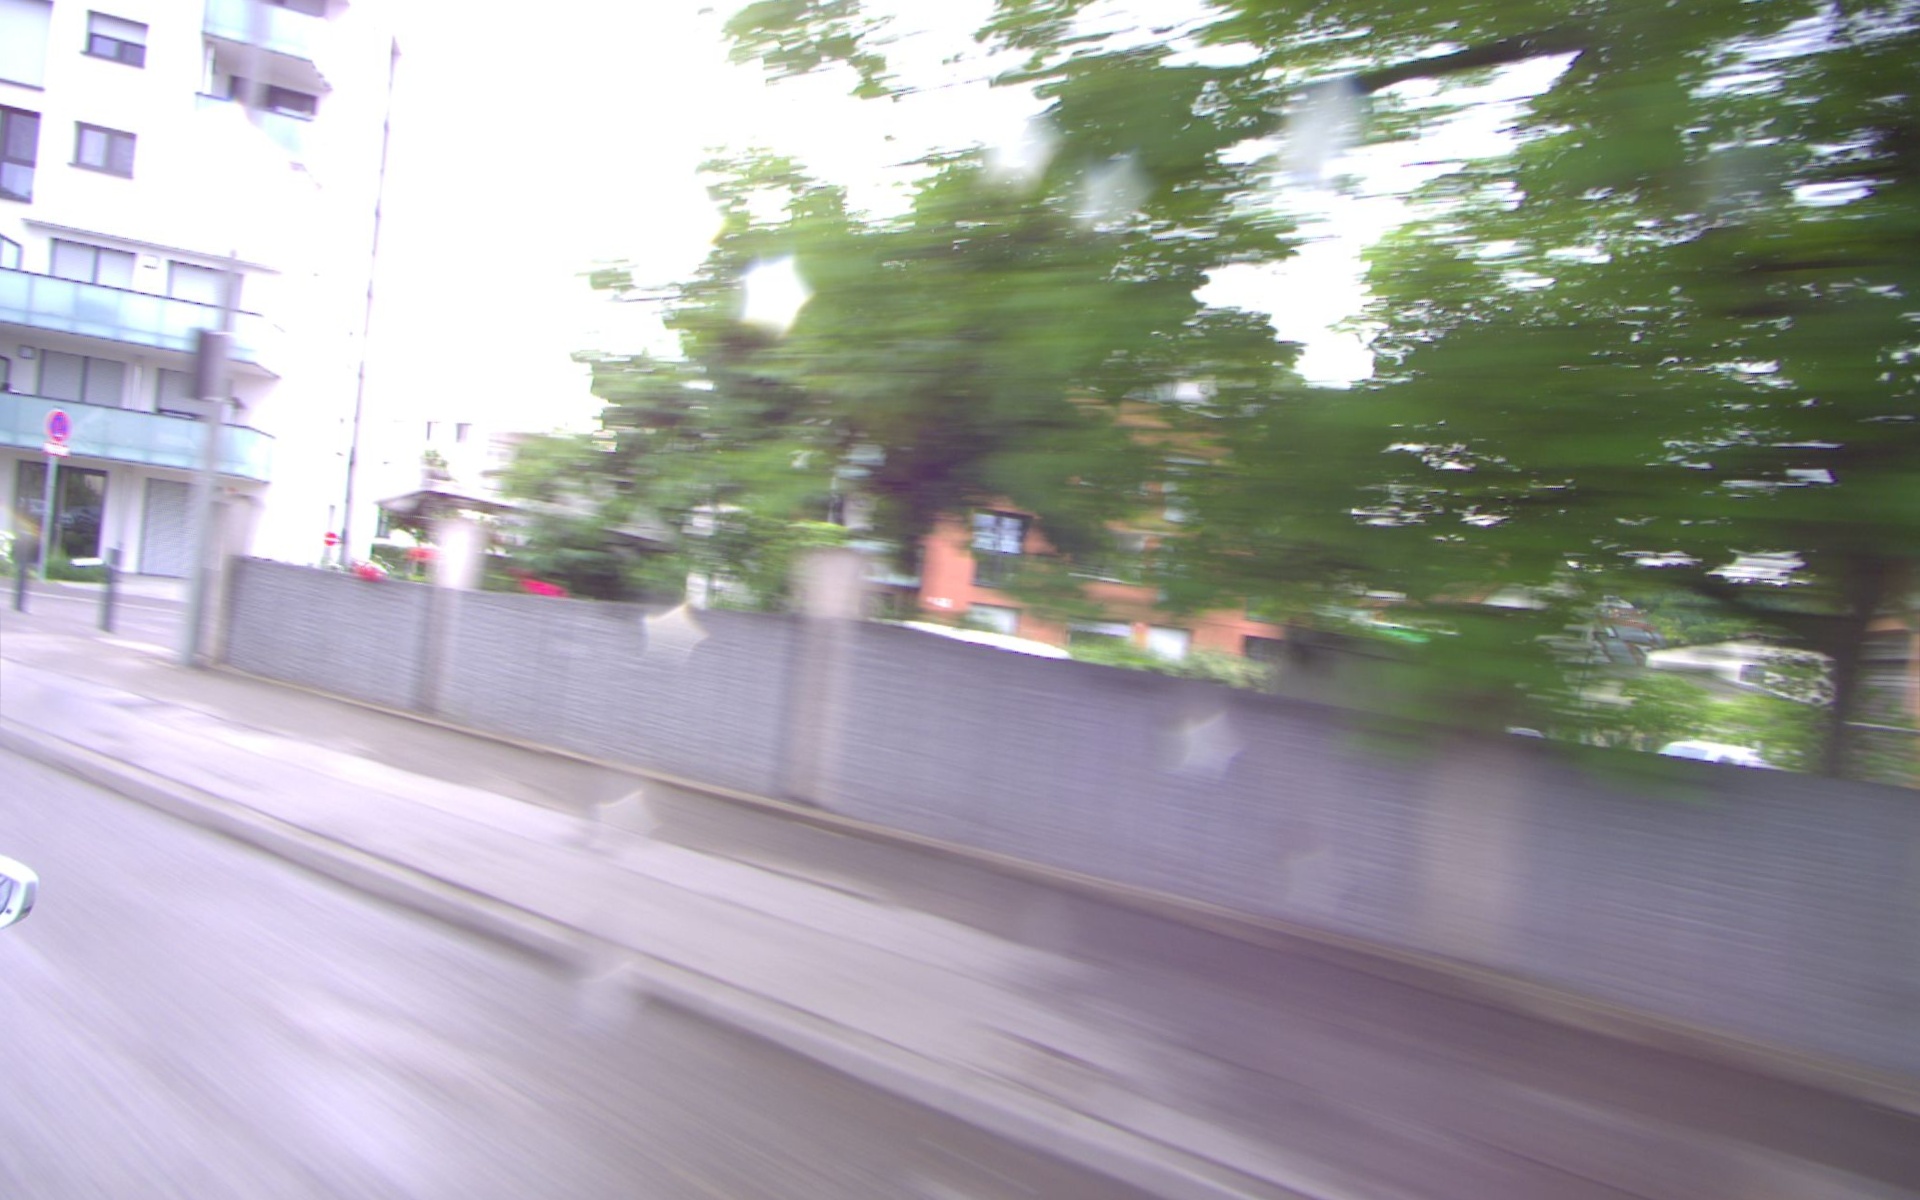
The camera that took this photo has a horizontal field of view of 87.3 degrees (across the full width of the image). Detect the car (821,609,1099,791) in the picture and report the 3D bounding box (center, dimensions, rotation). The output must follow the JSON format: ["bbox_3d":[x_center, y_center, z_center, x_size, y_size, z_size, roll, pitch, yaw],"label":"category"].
[{"bbox_3d":[0.186,1.355,14.050,1.965,1.892,4.133,8,-1,29],"label":"car"}]

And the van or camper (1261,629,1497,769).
[{"bbox_3d":[11.684,2.760,28.029,5.874,3.030,2.314,9,0,-23],"label":"van or camper"}]

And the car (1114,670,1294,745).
[{"bbox_3d":[6.151,2.711,25.409,4.073,1.268,1.770,8,-1,-22],"label":"car"}]

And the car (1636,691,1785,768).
[{"bbox_3d":[24.867,4.296,33.345,4.140,1.924,1.905,8,-1,-21],"label":"car"}]
